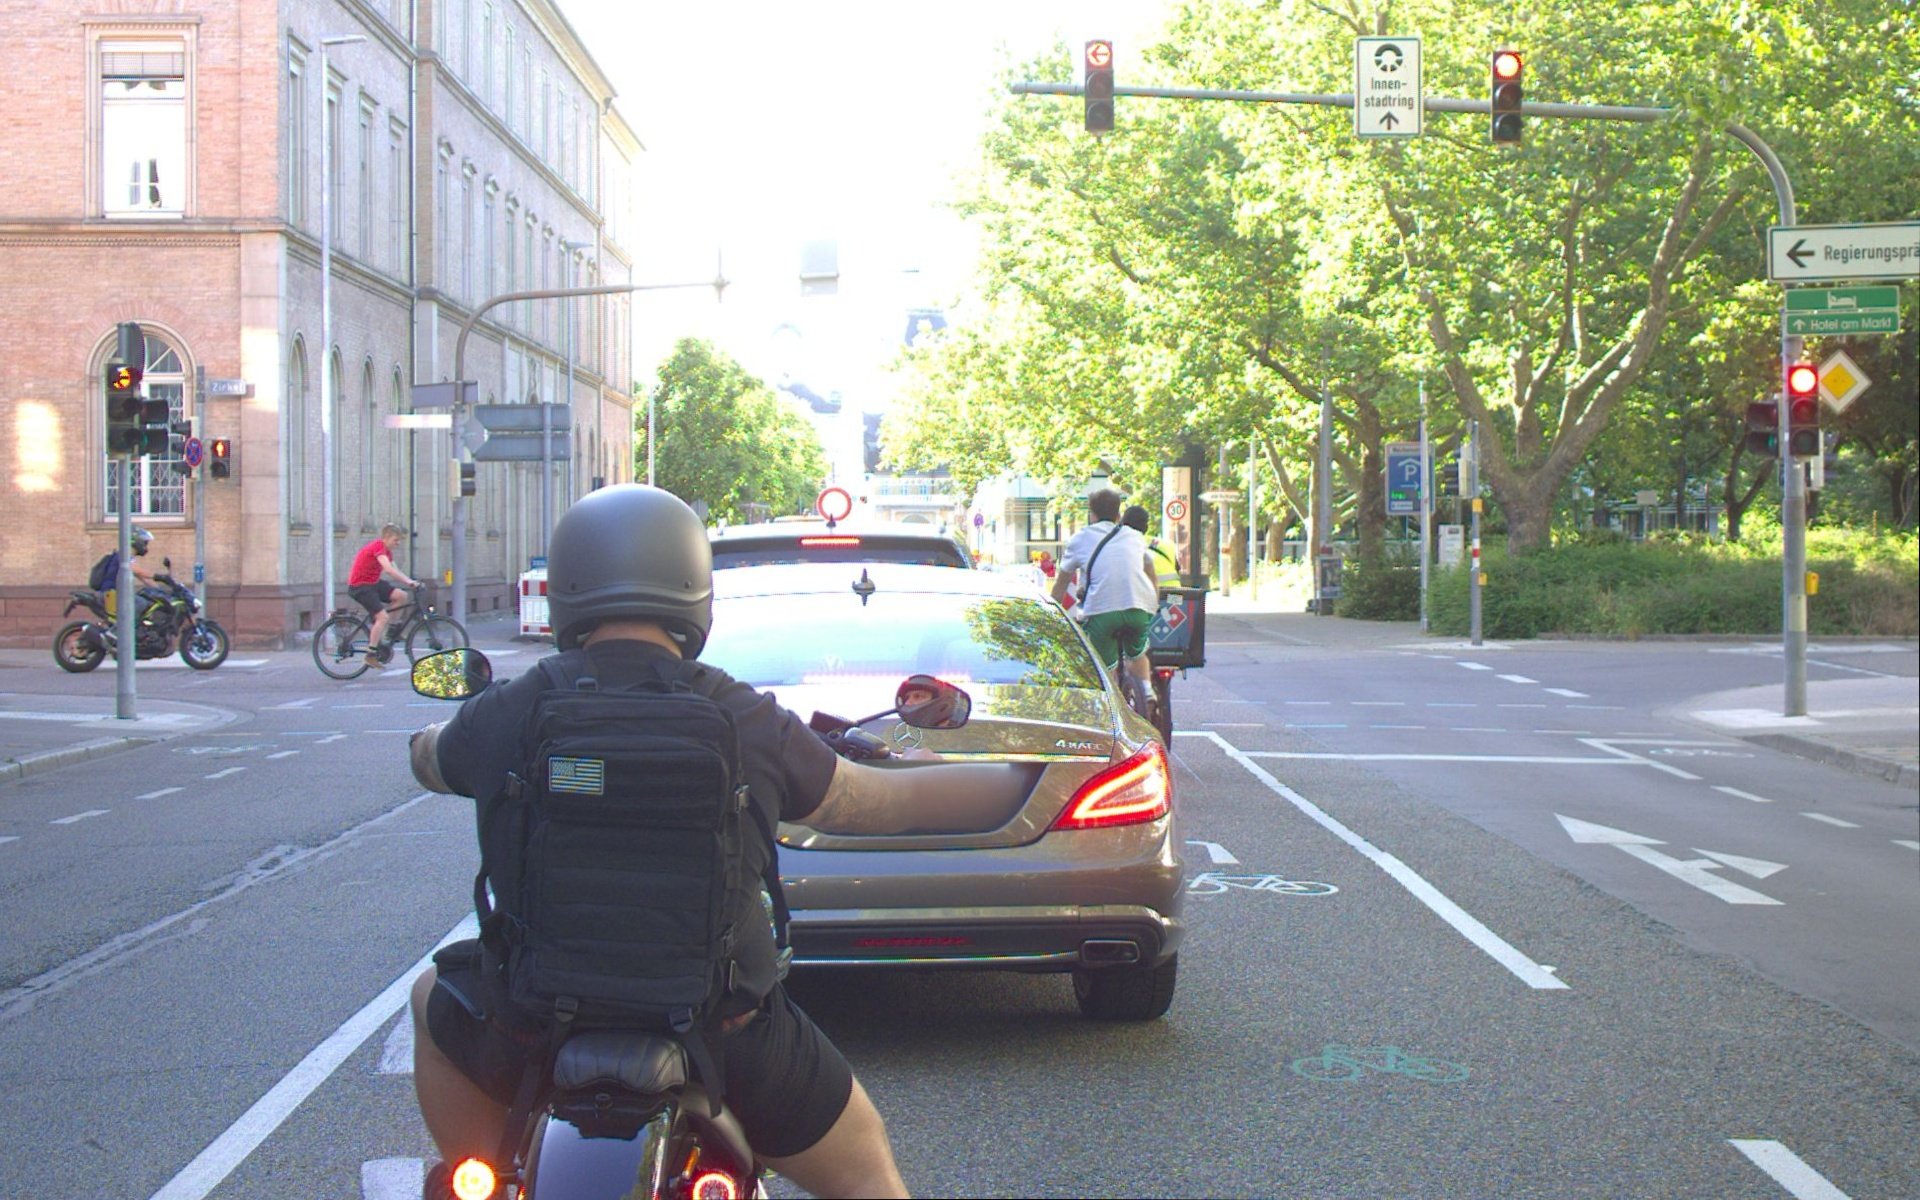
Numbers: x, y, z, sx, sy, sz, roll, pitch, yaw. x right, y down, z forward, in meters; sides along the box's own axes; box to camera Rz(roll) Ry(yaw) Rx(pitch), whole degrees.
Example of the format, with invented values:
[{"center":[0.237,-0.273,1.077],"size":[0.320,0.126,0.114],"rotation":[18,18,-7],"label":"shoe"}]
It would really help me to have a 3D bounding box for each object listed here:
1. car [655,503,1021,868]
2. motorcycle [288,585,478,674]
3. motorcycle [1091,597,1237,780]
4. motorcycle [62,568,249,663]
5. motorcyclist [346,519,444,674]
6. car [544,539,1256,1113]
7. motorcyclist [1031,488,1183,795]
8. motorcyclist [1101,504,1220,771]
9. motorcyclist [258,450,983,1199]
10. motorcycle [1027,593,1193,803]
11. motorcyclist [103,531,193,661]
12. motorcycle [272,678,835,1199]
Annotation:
[{"center":[-0.578,0.370,17.717],"size":[1.651,1.646,4.000],"rotation":[1,1,-1],"label":"car"},{"center":[-6.449,0.330,38.449],"size":[2.012,0.958,0.580],"rotation":[1,0,0],"label":"motorcycle"},{"center":[1.329,0.559,22.823],"size":[0.797,1.128,2.236],"rotation":[1,1,-1],"label":"motorcycle"},{"center":[-9.565,0.184,40.926],"size":[2.080,1.093,0.628],"rotation":[1,0,-5],"label":"motorcycle"},{"center":[-6.318,-0.041,38.456],"size":[0.985,1.716,0.551],"rotation":[1,0,0],"label":"motorcyclist"},{"center":[-0.405,0.569,11.124],"size":[1.824,1.481,4.334],"rotation":[1,1,-7],"label":"car"},{"center":[0.868,0.237,20.517],"size":[0.831,1.782,0.913],"rotation":[1,0,-1],"label":"motorcyclist"},{"center":[1.324,0.242,22.816],"size":[0.717,1.737,0.751],"rotation":[1,0,-1],"label":"motorcyclist"},{"center":[-0.481,0.596,5.324],"size":[0.990,1.605,1.120],"rotation":[1,0,-1],"label":"motorcyclist"},{"center":[0.864,0.552,20.383],"size":[0.863,1.164,1.930],"rotation":[1,1,-1],"label":"motorcycle"},{"center":[-9.657,-0.051,40.922],"size":[0.939,1.532,0.645],"rotation":[1,0,-5],"label":"motorcyclist"},{"center":[-0.560,0.779,5.419],"size":[0.660,1.236,2.058],"rotation":[1,1,-1],"label":"motorcycle"}]
